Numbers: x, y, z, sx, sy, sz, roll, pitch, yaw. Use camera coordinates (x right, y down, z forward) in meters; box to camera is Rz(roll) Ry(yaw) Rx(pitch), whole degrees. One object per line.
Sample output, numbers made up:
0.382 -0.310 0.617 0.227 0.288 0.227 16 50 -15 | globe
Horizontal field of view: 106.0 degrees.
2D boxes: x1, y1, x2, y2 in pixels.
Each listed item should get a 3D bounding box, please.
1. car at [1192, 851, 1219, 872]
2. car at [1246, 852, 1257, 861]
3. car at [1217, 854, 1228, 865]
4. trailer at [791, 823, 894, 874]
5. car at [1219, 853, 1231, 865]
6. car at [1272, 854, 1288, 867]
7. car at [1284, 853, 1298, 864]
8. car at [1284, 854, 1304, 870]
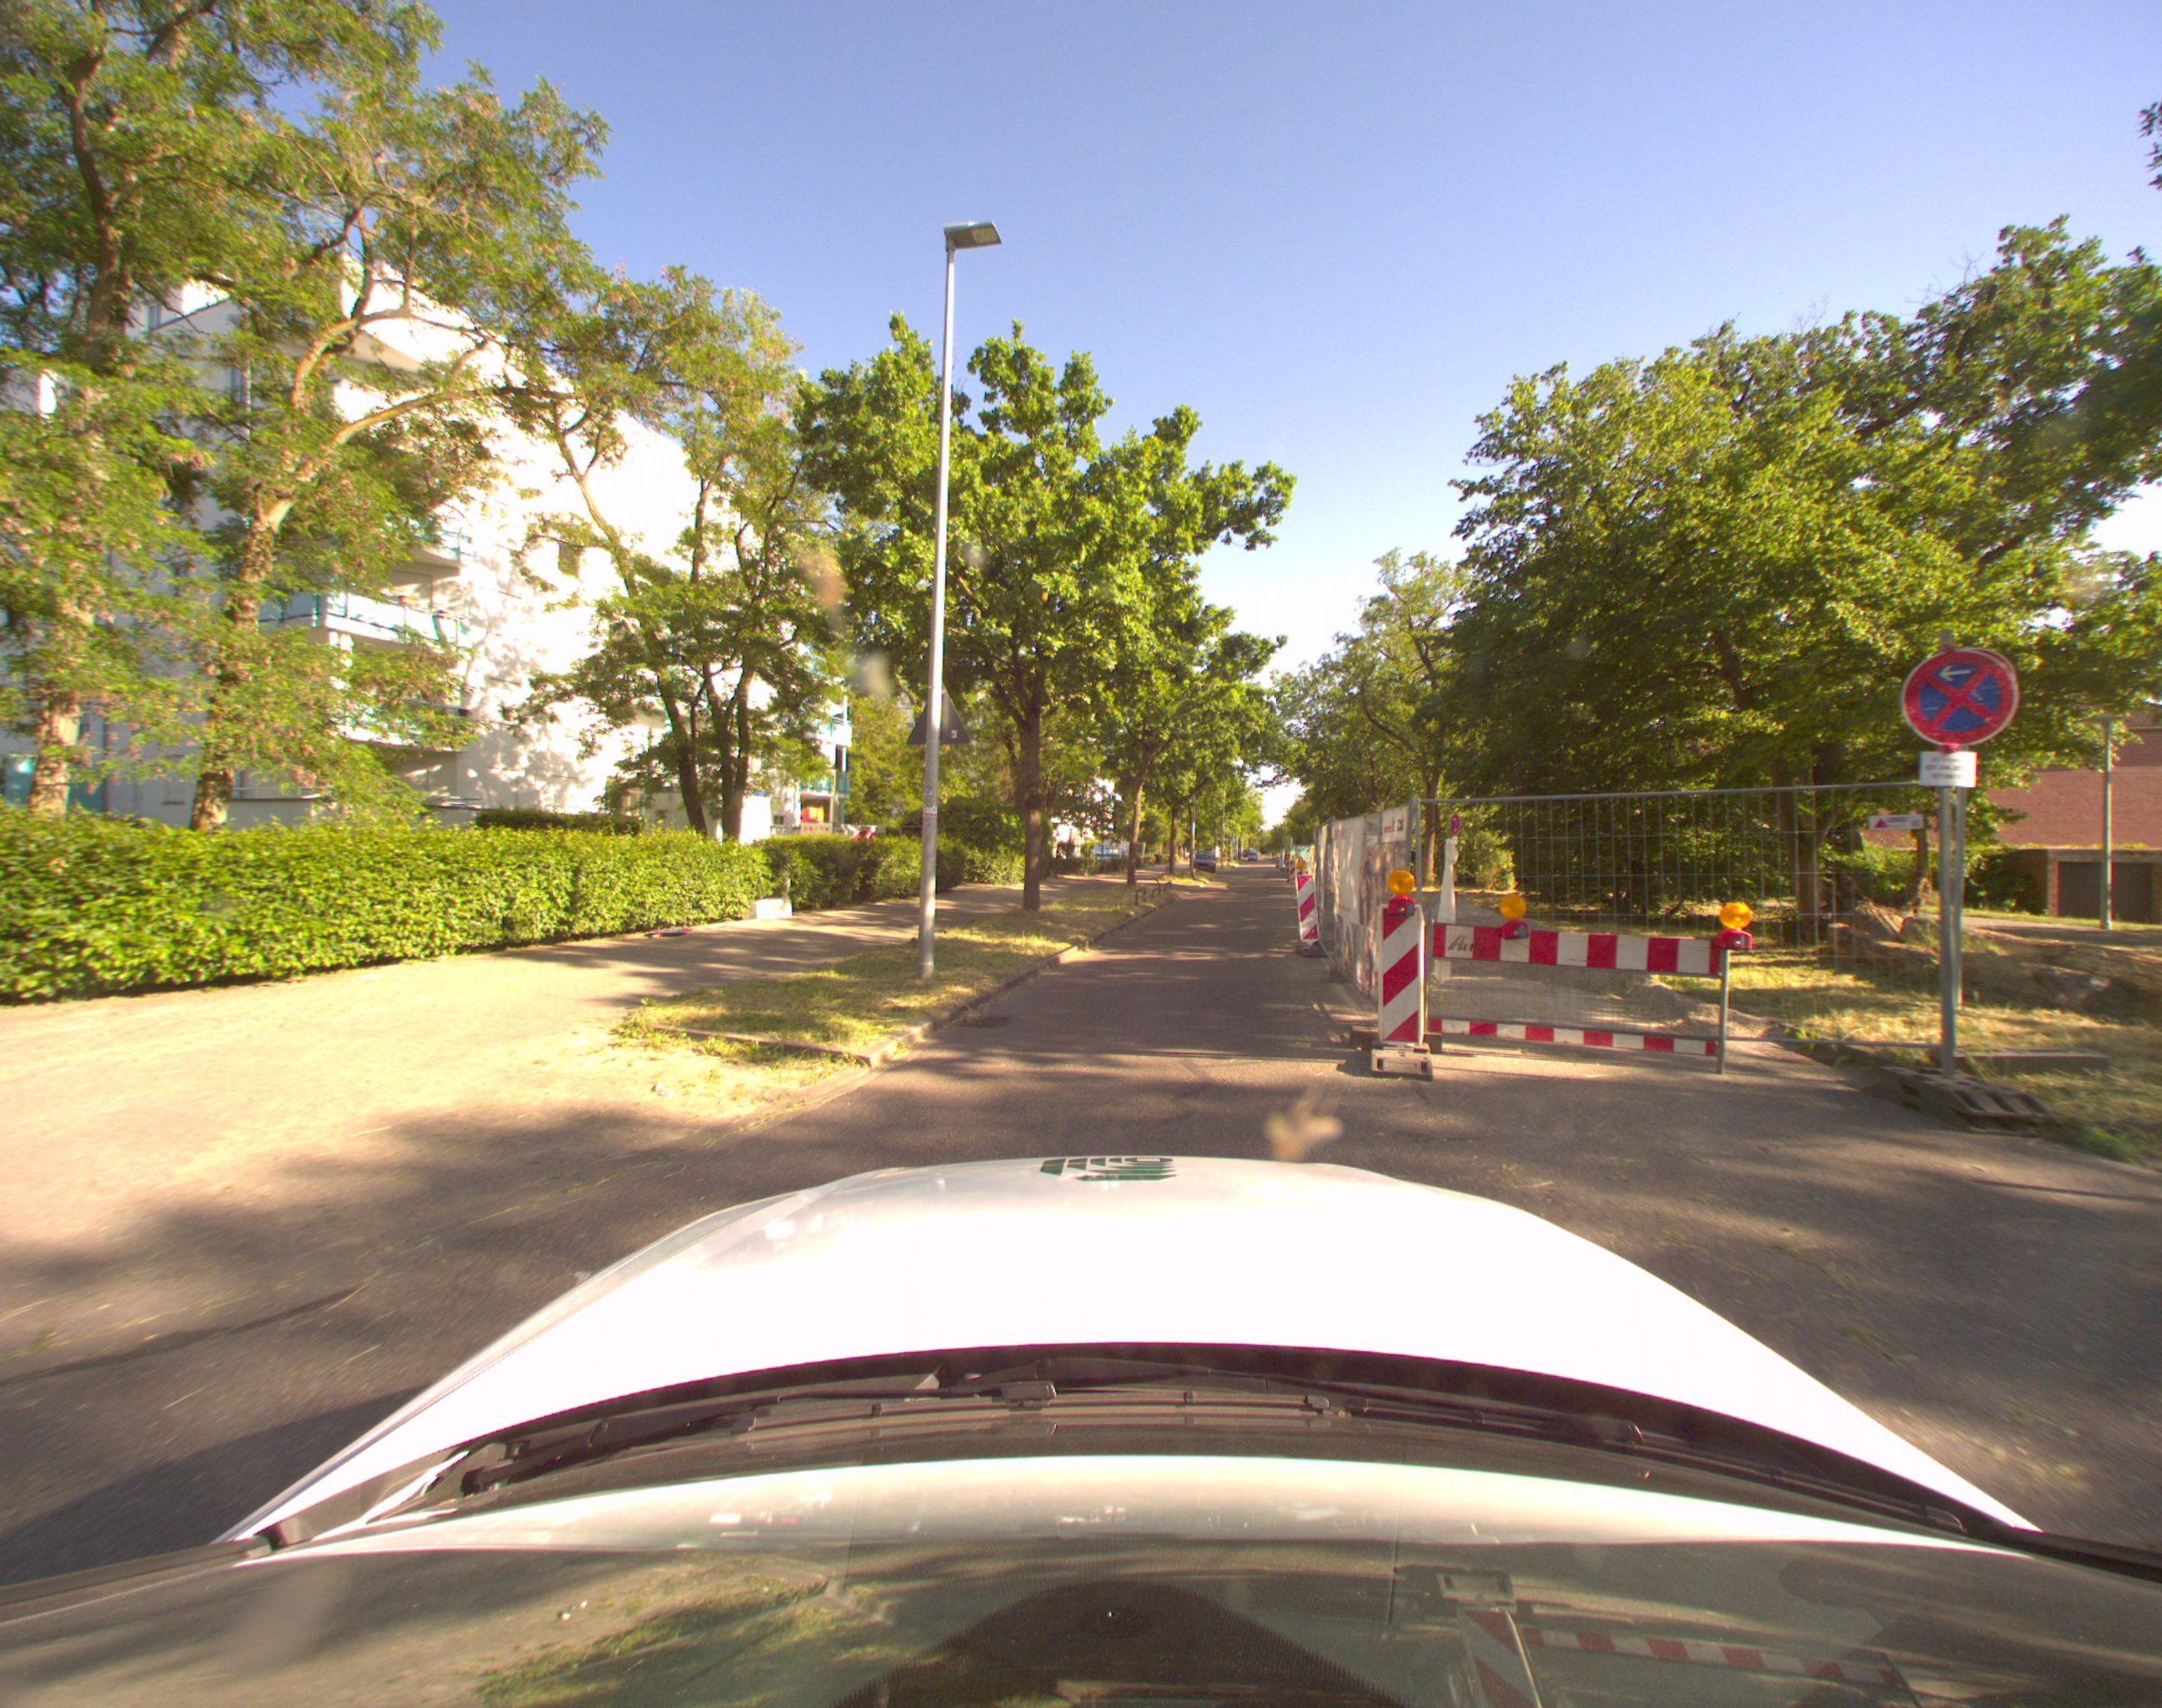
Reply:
9.296 0.540 60.633 1.739 1.478 3.848 1 0 11 | car
31.203 0.539 149.301 1.700 1.585 4.010 2 0 9 | car
18.600 0.701 106.883 1.353 1.302 3.491 2 0 10 | car
-10.032 -0.234 34.628 1.960 2.042 4.451 1 0 19 | trailer
16.846 0.585 95.226 1.353 1.302 3.491 2 0 10 | car
19.938 0.653 81.696 1.353 1.302 3.491 2 0 10 | car
28.598 0.563 110.793 1.781 1.409 4.015 1 0 14 | car
17.967 0.664 68.813 1.353 1.302 3.491 2 0 10 | car
